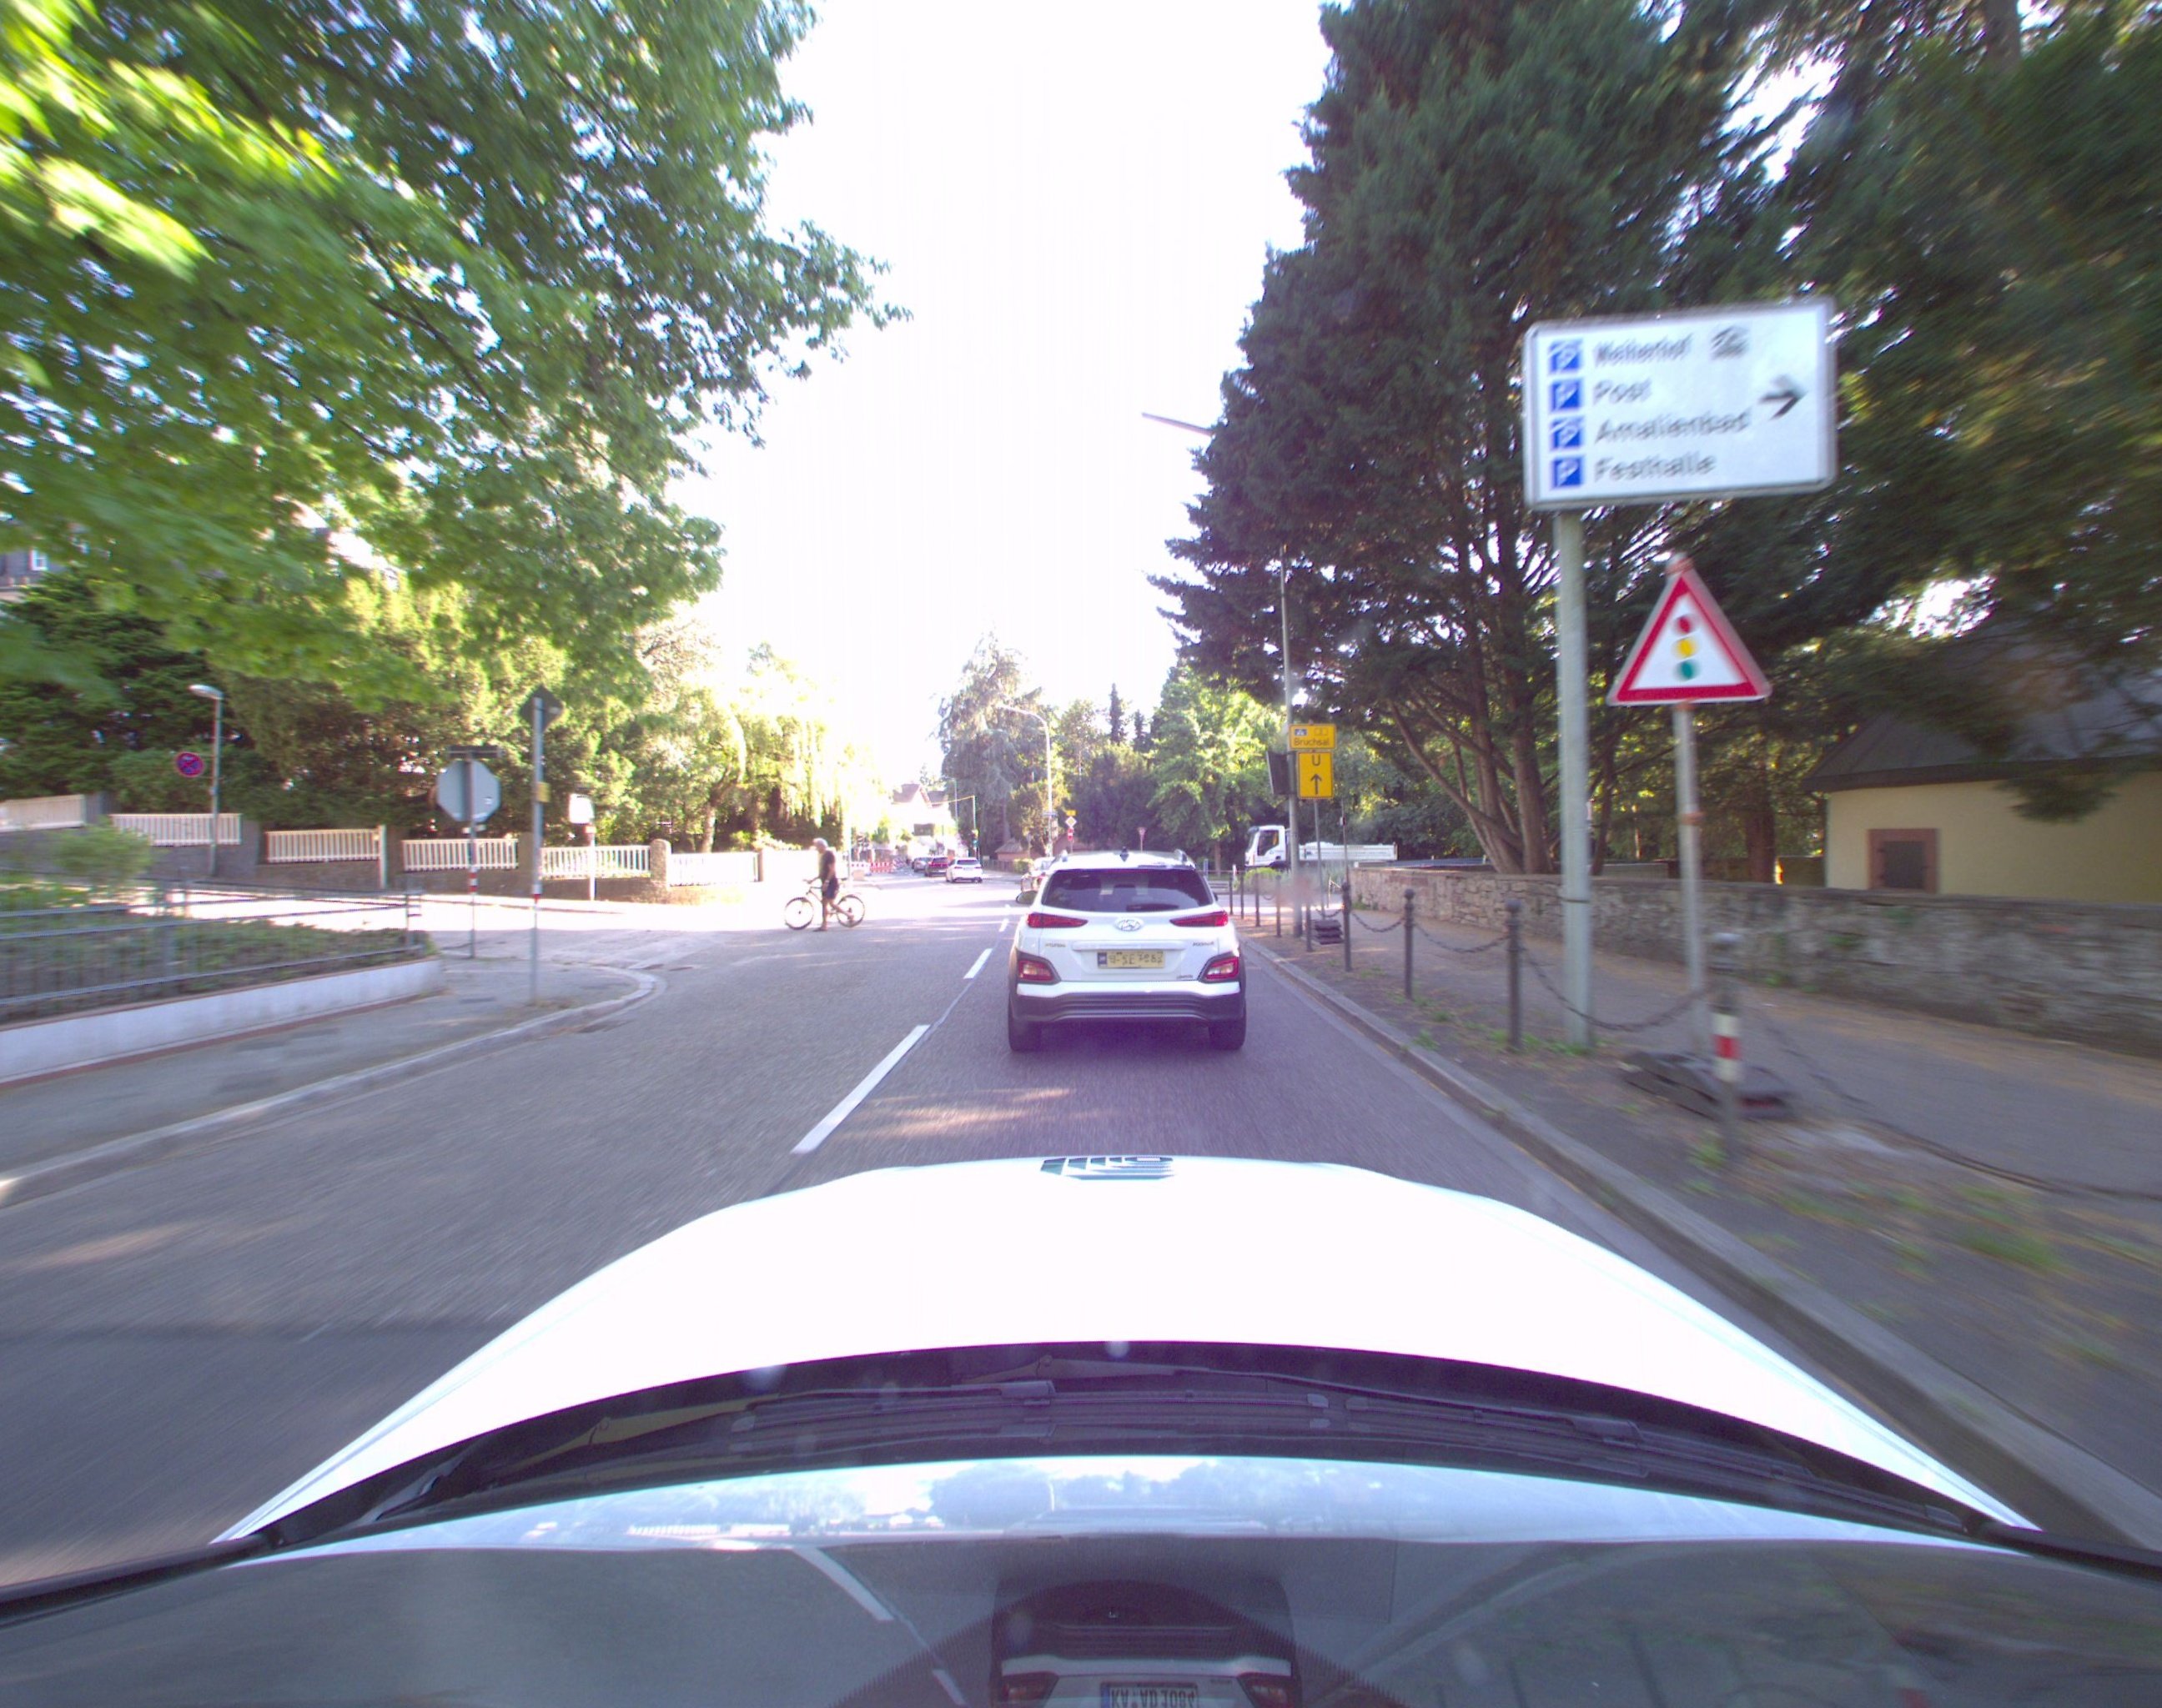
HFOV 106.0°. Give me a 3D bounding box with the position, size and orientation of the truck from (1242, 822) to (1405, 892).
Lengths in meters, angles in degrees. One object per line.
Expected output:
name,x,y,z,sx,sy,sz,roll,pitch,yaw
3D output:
truck,10.468,0.124,35.697,6.552,2.895,2.438,0,0,6

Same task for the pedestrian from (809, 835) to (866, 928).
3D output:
pedestrian,-4.898,0.536,16.374,0.947,1.826,0.548,1,0,-37

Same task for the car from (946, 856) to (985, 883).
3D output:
car,-6.959,0.874,48.816,1.809,1.537,3.978,1,0,-16

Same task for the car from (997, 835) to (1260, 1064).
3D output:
car,0.392,0.666,7.655,1.813,1.574,4.001,0,0,2

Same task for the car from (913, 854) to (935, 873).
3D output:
car,-14.956,0.927,77.553,1.834,1.741,3.981,1,0,-14

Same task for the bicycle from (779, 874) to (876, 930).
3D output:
bicycle,-5.202,0.963,16.769,1.825,1.043,0.555,0,1,-36

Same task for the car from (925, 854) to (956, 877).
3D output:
car,-10.795,0.857,62.363,1.835,1.662,3.978,1,0,-16

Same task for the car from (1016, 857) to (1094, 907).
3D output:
car,-0.905,0.813,25.814,1.709,1.434,4.346,1,0,-12

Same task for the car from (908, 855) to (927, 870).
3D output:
car,-18.363,0.933,91.320,1.835,1.662,3.979,0,0,-15
